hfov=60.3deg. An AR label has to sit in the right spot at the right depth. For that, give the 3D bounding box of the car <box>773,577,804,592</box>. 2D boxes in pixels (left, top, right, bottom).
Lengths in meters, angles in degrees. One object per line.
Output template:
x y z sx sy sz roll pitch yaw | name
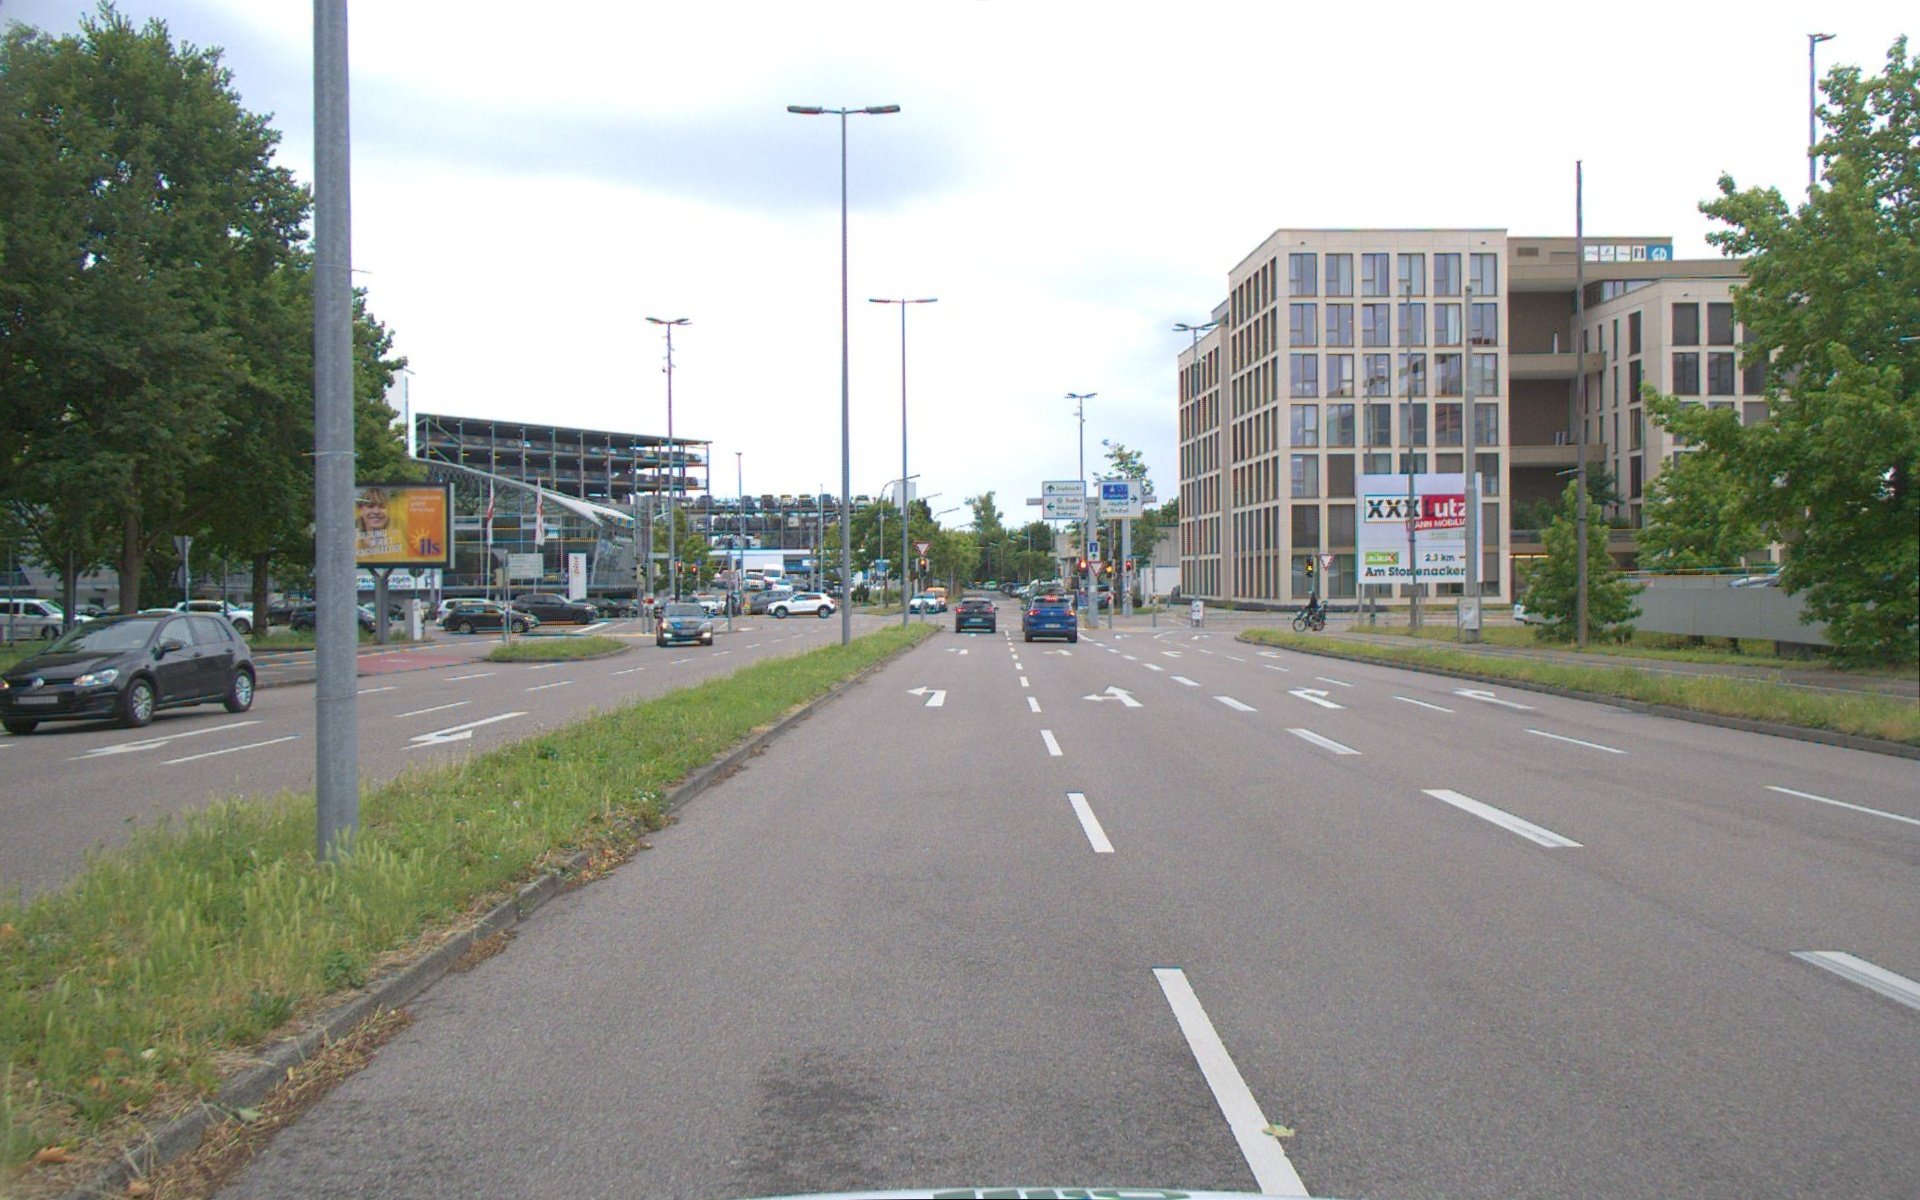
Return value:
-19.570 -1.780 188.703 3.592 1.555 1.612 -1 2 -7 | car

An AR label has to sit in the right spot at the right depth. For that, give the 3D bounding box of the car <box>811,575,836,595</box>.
-12.981 -1.457 157.797 1.738 1.735 3.919 0 2 5 | car

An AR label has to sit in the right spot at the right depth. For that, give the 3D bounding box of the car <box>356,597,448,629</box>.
-28.884 0.649 85.755 4.167 1.535 1.998 -1 2 -7 | car

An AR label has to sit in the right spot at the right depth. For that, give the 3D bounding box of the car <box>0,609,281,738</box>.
-11.104 0.920 22.307 1.890 1.481 4.184 -2 0 4 | car

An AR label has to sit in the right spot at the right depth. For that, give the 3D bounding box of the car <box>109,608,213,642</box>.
-39.461 1.226 81.786 4.144 1.538 1.993 -1 1 -4 | car

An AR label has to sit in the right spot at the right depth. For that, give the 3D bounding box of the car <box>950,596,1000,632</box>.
0.611 0.617 69.857 1.947 1.453 4.239 0 -1 -2 | car

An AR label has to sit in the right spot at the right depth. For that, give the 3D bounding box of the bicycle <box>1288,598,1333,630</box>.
15.039 0.591 70.991 0.694 1.318 1.986 0 1 -36 | bicycle

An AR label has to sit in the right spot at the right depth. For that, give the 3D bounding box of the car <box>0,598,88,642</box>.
-45.961 0.991 81.359 5.030 1.998 1.880 -1 4 -4 | car

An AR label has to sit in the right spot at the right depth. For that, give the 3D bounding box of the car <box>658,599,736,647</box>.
-8.940 0.756 56.571 1.754 1.505 4.533 -2 0 2 | car

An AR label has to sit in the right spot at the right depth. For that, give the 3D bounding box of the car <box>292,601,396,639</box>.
-30.635 0.994 82.342 4.456 1.688 1.997 -2 1 -7 | car

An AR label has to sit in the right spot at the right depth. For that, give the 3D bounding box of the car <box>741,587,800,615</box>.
-13.042 0.077 113.853 3.908 1.821 1.846 -1 2 -5 | car

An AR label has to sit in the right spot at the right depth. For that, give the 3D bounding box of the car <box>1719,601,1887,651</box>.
22.482 0.683 44.202 3.618 1.197 1.720 -1 2 -1 | car

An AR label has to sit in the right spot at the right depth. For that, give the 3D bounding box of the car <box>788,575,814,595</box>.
-15.127 -1.439 157.759 1.738 1.735 3.919 0 2 5 | car

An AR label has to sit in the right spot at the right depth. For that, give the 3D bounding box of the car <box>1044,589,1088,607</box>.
9.303 -0.199 144.802 3.529 1.504 1.760 0 2 21 | car

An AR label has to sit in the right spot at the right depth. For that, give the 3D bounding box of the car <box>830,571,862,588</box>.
-11.587 -2.056 167.935 3.229 1.669 1.479 -1 2 -3 | car

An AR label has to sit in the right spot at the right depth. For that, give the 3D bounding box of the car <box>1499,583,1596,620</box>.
29.078 0.085 81.909 4.089 1.783 1.996 0 0 -9 | car

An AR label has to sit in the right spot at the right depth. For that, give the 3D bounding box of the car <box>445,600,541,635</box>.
-23.385 0.862 82.883 4.331 1.689 1.997 0 0 -7 | car

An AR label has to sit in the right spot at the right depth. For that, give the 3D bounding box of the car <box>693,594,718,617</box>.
-16.748 0.342 108.669 1.348 1.349 3.023 -1 2 -14 | car

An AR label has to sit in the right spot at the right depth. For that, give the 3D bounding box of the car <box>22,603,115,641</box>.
-45.758 1.115 84.957 3.686 1.776 1.879 -1 2 -4 | car

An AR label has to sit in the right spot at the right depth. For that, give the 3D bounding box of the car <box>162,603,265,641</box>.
-38.385 1.111 85.167 4.347 1.740 1.999 -1 4 -5 | car

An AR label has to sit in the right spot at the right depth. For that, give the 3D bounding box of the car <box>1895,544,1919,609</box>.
22.699 -0.532 35.975 3.795 1.408 1.720 -1 2 -2 | car

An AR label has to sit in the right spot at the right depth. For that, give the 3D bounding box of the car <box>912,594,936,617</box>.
-2.566 0.380 117.632 1.567 1.478 3.325 0 2 1 | car

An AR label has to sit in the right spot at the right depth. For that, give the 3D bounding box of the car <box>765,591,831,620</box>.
-9.742 0.313 99.174 3.869 1.595 1.757 -1 2 -8 | car

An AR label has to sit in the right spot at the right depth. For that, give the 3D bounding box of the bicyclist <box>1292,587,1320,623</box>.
14.904 0.224 71.167 0.694 1.530 0.987 0 1 -36 | bicyclist

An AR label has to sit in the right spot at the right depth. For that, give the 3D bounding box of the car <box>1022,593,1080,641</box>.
3.109 0.564 57.200 1.797 1.541 4.000 0 1 0 | car

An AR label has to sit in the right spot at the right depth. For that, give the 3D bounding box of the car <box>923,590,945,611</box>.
-1.931 0.017 125.771 1.567 1.478 3.325 0 2 1 | car

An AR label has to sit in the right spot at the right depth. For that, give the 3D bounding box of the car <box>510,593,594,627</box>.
-22.077 0.535 89.696 4.327 1.672 1.994 -1 2 -13 | car
